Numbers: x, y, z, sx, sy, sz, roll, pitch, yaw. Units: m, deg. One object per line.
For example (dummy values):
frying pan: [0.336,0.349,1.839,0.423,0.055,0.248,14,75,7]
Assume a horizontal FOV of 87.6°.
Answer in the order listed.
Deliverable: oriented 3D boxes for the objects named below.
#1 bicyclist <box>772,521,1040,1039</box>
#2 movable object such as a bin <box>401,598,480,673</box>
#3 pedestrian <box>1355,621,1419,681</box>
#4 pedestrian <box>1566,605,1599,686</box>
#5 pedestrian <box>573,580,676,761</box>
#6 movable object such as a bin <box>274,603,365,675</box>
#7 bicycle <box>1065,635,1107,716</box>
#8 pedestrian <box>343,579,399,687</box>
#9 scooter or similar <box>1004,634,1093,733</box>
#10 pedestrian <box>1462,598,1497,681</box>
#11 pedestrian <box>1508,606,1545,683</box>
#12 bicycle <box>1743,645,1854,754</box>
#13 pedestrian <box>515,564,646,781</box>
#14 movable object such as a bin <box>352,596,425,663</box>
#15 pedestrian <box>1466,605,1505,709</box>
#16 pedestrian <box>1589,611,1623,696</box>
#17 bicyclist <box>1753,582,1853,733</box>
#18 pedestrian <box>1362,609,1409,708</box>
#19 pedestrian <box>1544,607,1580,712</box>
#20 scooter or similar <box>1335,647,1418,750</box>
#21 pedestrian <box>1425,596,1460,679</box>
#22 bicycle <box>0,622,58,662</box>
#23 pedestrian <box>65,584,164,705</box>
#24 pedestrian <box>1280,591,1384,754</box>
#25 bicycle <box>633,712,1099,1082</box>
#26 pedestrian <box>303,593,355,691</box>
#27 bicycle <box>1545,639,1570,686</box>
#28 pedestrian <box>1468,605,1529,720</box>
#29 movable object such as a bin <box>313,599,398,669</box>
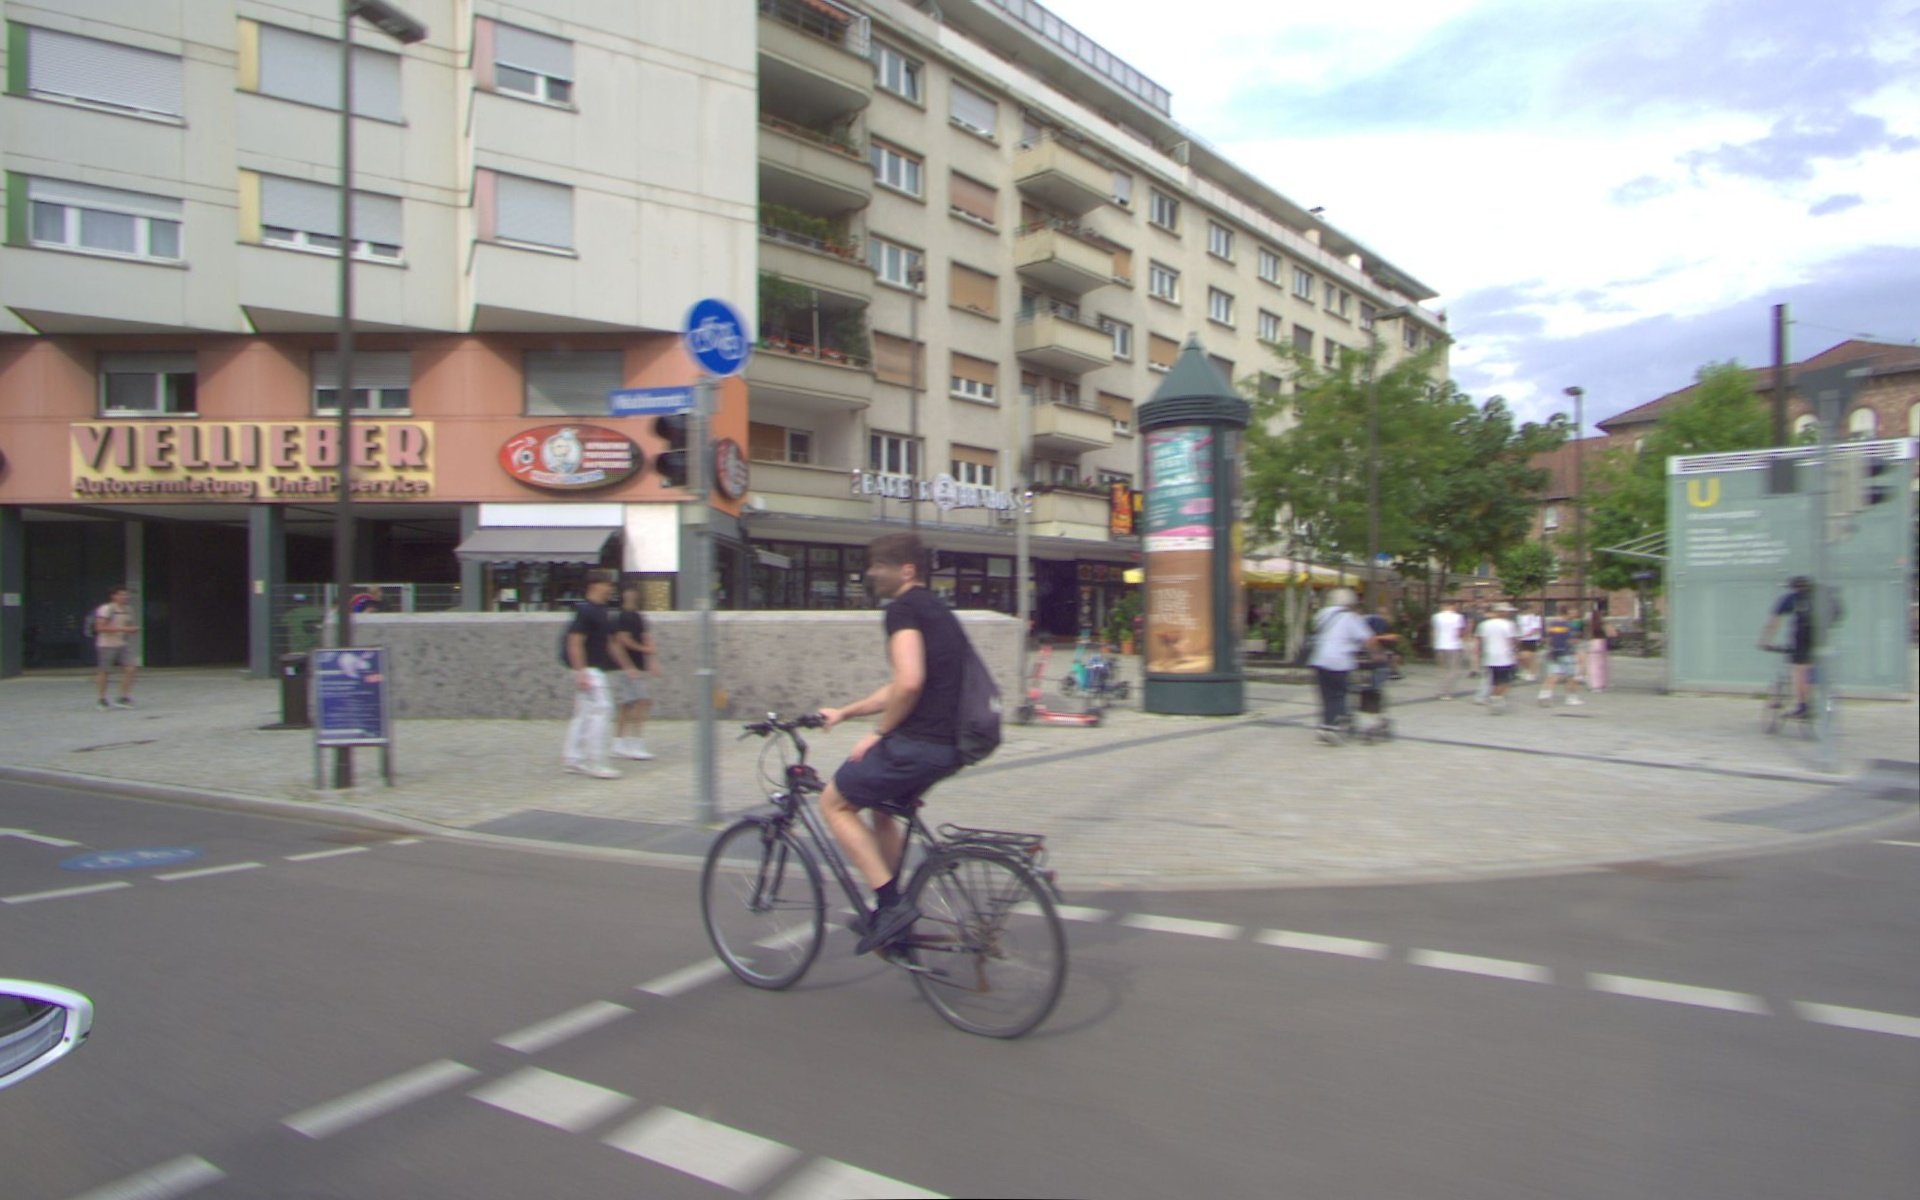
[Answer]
bicyclist: [-0.198,0.610,3.796,0.849,1.731,0.558,0,0,27]
movable object such as a bin: [-11.015,0.745,21.282,1.067,1.535,1.147,0,0,0]
pedestrian: [9.287,1.121,21.780,1.024,1.261,0.926,4,-3,-42]
pedestrian: [13.638,0.989,21.940,0.474,1.727,0.634,2,1,41]
pedestrian: [-3.495,0.713,10.493,0.869,1.824,0.676,0,2,-4]
movable object such as a bin: [-13.544,0.809,21.214,1.200,1.479,1.149,0,-1,0]
bicycle: [1.878,1.097,15.164,0.534,1.027,2.448,0,0,5]
pedestrian: [-10.754,0.590,18.287,0.578,1.929,0.674,0,2,2]
scooter or similar: [1.133,1.054,12.860,1.107,1.228,0.286,0,-1,23]
pedestrian: [11.975,0.899,23.094,0.578,1.892,0.486,2,1,41]
pedestrian: [12.912,1.000,22.827,0.578,1.727,0.634,2,1,41]
bicycle: [10.089,1.150,12.110,0.384,1.137,1.916,0,0,20]
pedestrian: [-3.596,0.662,9.569,0.994,1.998,0.720,0,2,-4]
movable object such as a bin: [-13.483,0.686,23.642,1.145,1.535,1.005,0,-1,0]
pedestrian: [9.126,0.970,17.378,0.695,1.759,0.410,1,-1,-45]
pedestrian: [12.894,1.047,19.988,0.672,1.662,0.435,1,-1,-45]
bicyclist: [10.112,0.668,12.042,0.688,1.731,0.905,0,-1,24]
pedestrian: [6.996,0.947,16.451,0.813,1.597,0.411,1,-1,-43]
pedestrian: [10.348,1.013,17.208,0.589,1.759,0.410,1,-1,-45]
scooter or similar: [4.876,1.128,11.731,0.692,1.125,0.605,0,1,-32]
pedestrian: [11.180,0.862,23.196,0.578,1.892,0.544,2,1,41]
bicycle: [-22.079,0.979,23.373,1.645,0.908,0.454,1,0,1]
pedestrian: [-13.408,0.695,15.904,0.952,1.878,0.658,0,2,4]
pedestrian: [4.216,0.787,11.358,0.925,1.763,0.681,0,1,-31]
bicycle: [-0.451,1.066,4.011,1.987,1.136,0.405,-1,-1,29]
pedestrian: [-11.055,0.729,17.549,0.578,1.696,0.473,0,2,2]
bicycle: [13.335,1.392,22.338,0.286,1.009,1.131,0,-1,40]
pedestrian: [8.236,0.949,15.308,0.620,1.701,0.799,-1,-3,45]
movable object such as a bin: [-13.521,0.750,22.445,1.174,1.535,1.198,0,-1,0]
